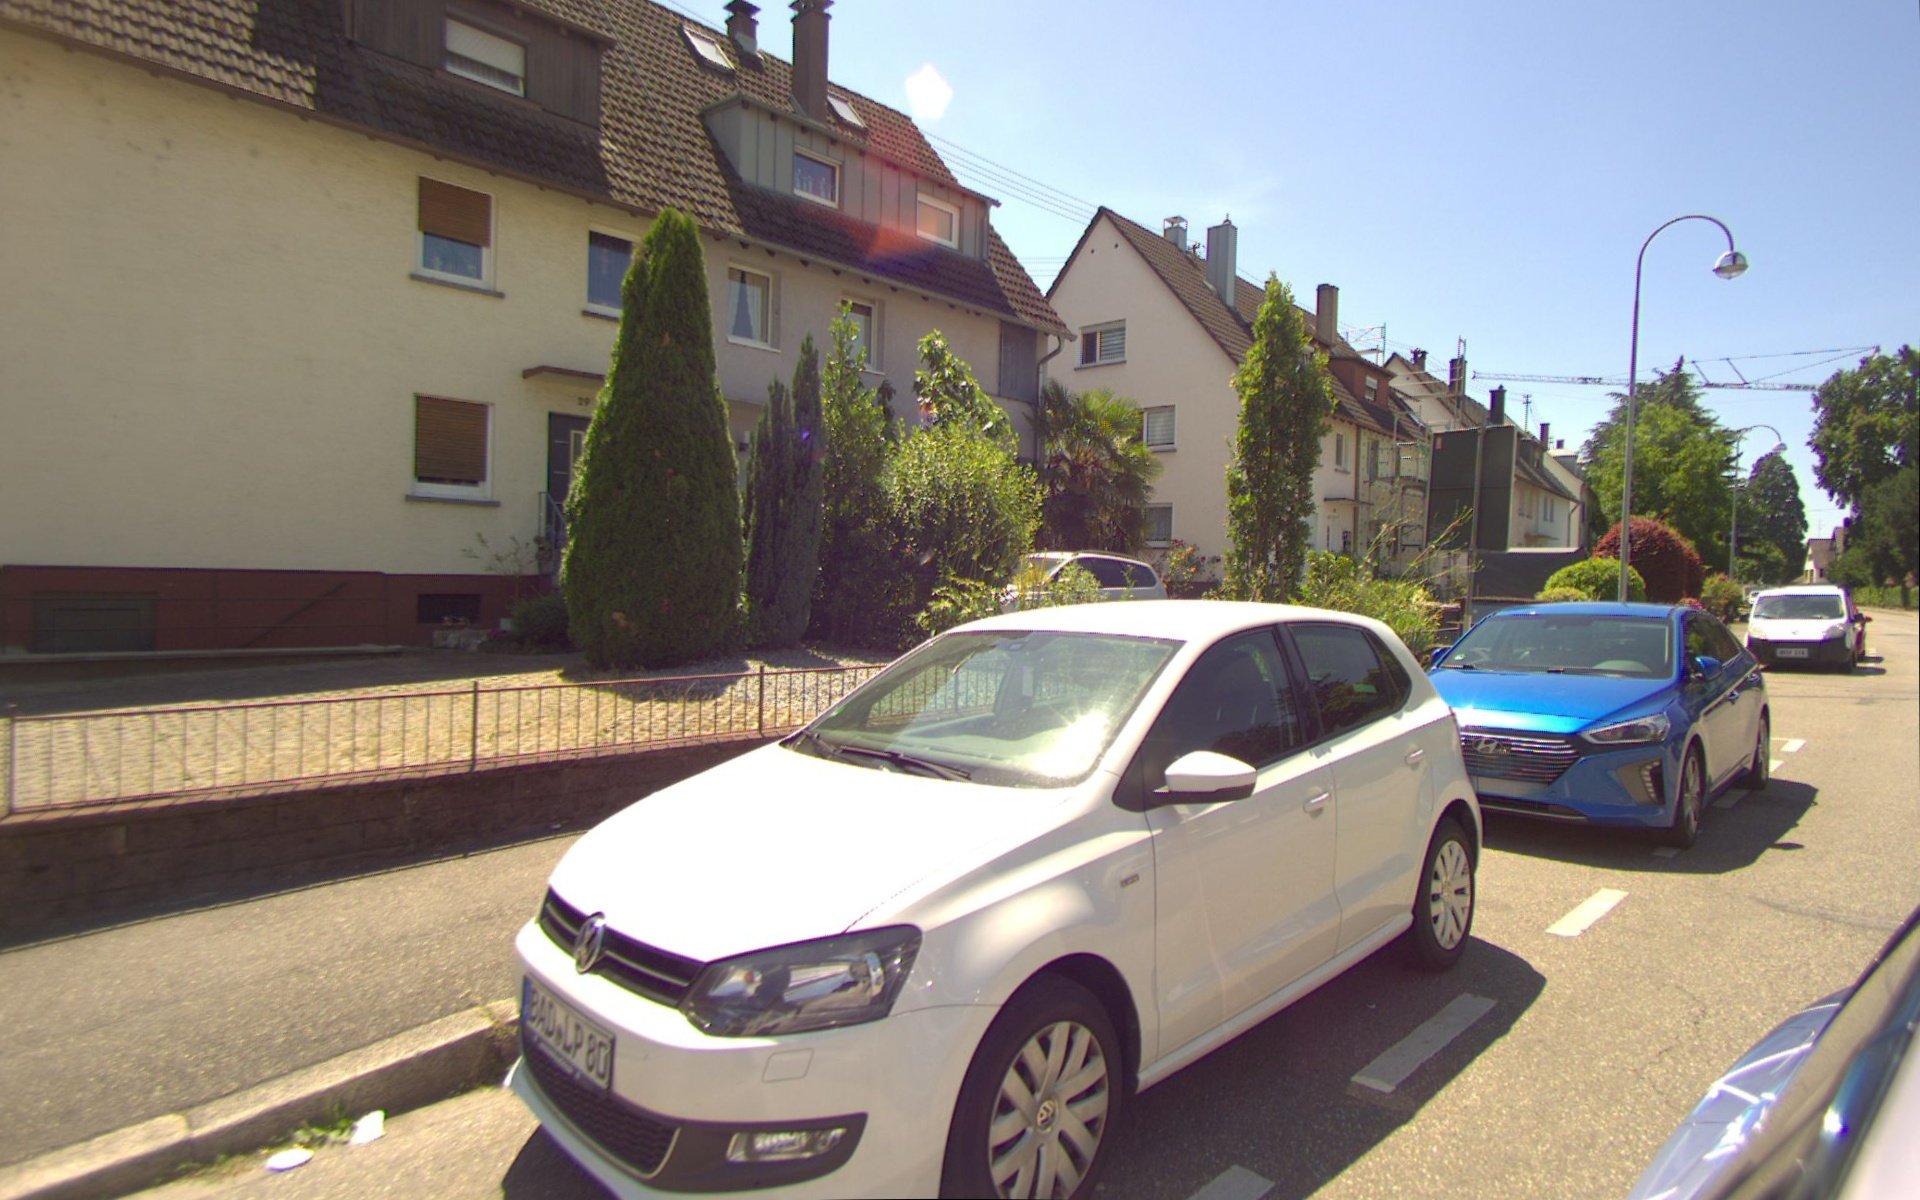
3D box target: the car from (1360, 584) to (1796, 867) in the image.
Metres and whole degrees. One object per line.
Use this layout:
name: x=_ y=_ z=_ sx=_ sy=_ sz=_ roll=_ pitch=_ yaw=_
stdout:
car: x=4.715 y=0.639 z=7.416 sx=4.290 sy=1.472 sz=1.686 roll=0 pitch=1 yaw=-44

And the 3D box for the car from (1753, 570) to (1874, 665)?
car: x=17.915 y=0.322 z=21.190 sx=1.684 sy=1.802 sz=3.878 roll=-1 pitch=-1 yaw=44

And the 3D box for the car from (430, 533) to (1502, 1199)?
car: x=0.367 y=0.613 z=3.598 sx=3.677 sy=1.473 sz=1.686 roll=0 pitch=1 yaw=-44

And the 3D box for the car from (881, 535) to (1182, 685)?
car: x=1.182 y=0.083 z=14.891 sx=4.455 sy=1.873 sz=1.919 roll=0 pitch=2 yaw=-44

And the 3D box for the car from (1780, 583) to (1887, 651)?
car: x=21.294 y=0.353 z=24.626 sx=3.876 sy=1.516 sz=1.685 roll=0 pitch=1 yaw=-45

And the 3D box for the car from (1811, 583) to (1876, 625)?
car: x=34.410 y=0.130 z=39.385 sx=1.685 sy=1.516 sz=3.877 roll=1 pitch=1 yaw=44
